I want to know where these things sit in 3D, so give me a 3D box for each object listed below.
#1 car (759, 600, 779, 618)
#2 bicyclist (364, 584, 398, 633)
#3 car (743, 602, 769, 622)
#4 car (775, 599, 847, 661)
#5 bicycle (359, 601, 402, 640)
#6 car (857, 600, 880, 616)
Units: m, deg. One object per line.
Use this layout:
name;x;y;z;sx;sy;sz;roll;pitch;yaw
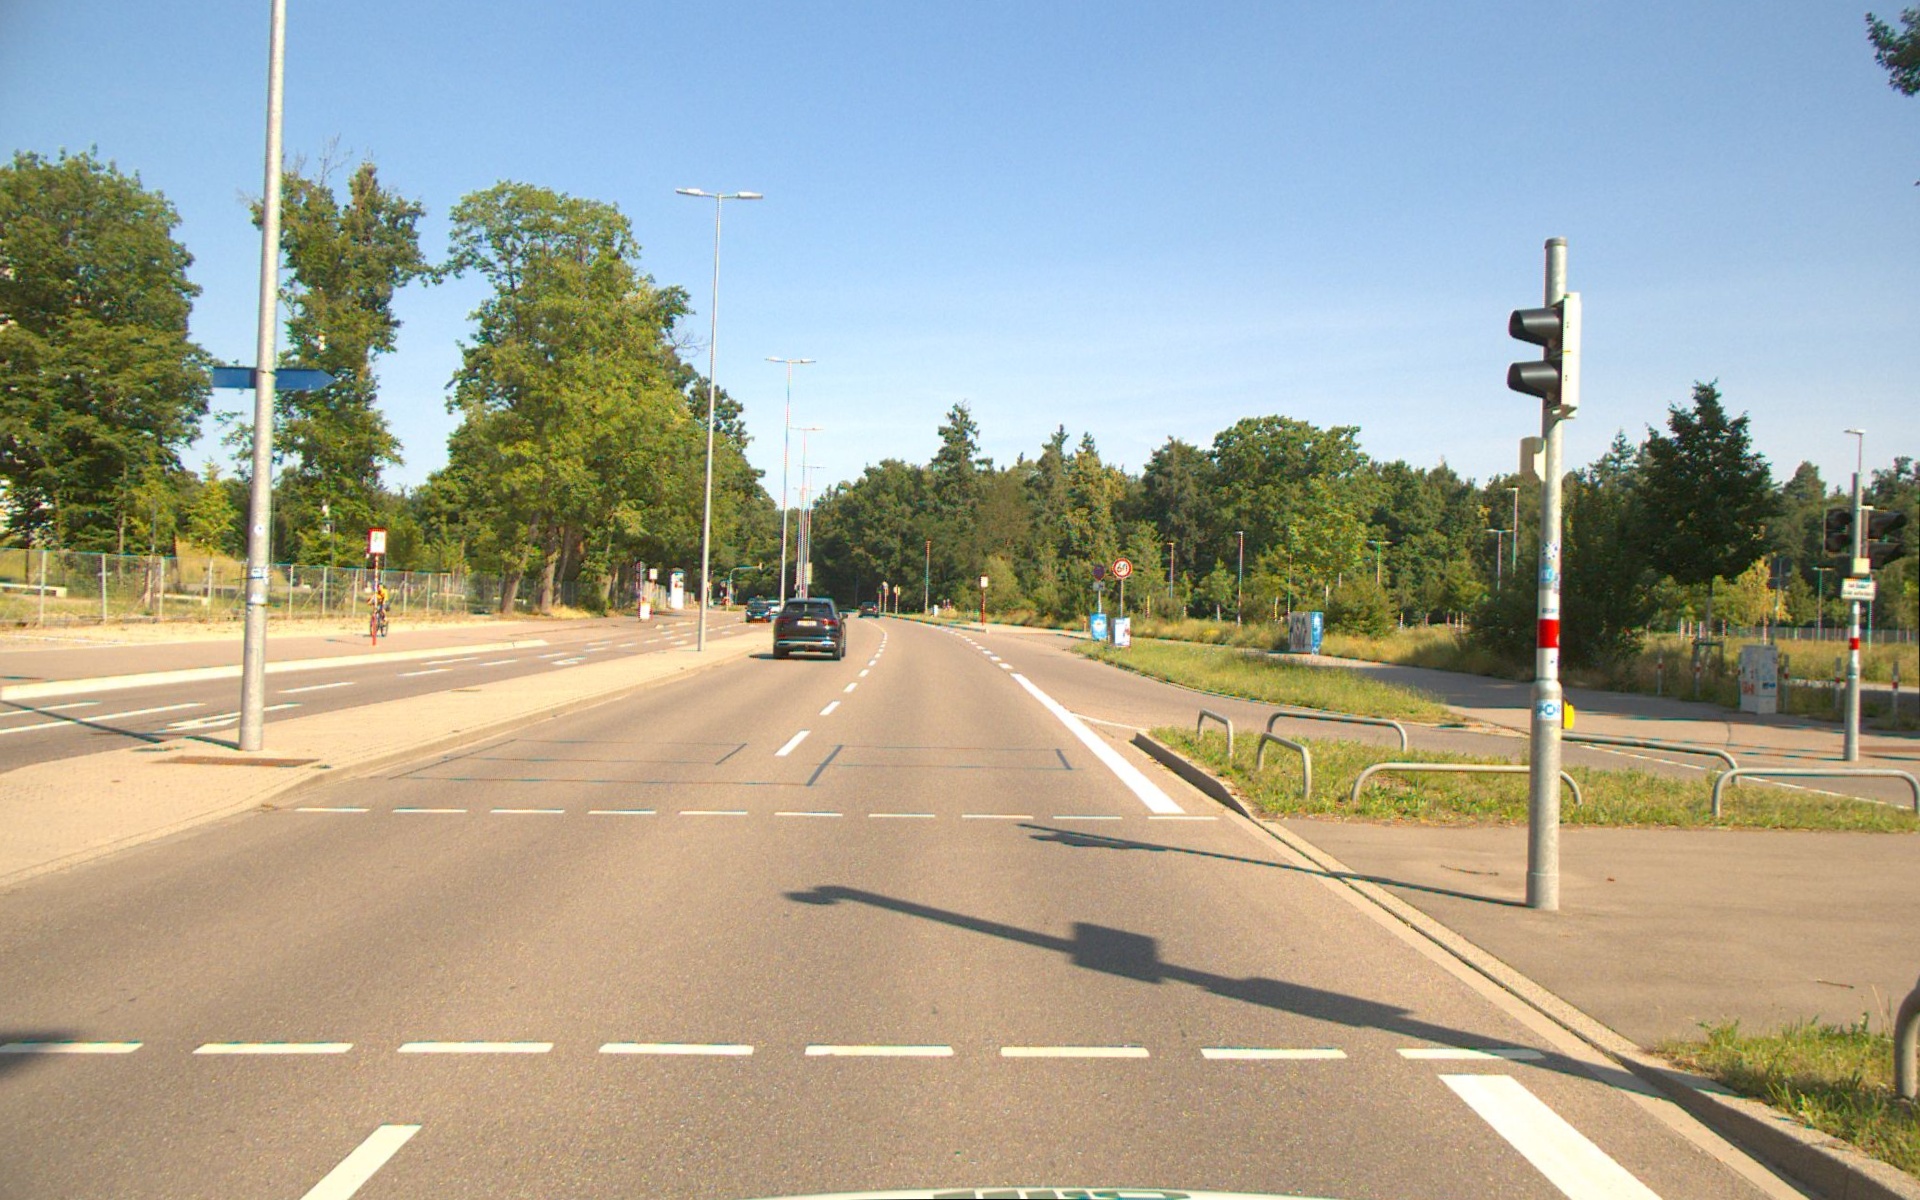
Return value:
car;-15.775;0.760;136.767;1.591;1.492;3.796;0;0;-5
bicyclist;-18.091;0.260;51.698;0.646;1.493;1.057;3;0;-2
car;-14.785;0.880;120.292;1.776;1.412;4.156;-1;0;-6
car;-3.931;0.759;44.163;1.654;1.571;4.147;1;0;-2
bicycle;-18.146;0.622;51.820;0.646;1.155;1.878;3;0;-2
car;-8.625;0.750;155.208;1.903;1.445;4.288;2;0;-6
